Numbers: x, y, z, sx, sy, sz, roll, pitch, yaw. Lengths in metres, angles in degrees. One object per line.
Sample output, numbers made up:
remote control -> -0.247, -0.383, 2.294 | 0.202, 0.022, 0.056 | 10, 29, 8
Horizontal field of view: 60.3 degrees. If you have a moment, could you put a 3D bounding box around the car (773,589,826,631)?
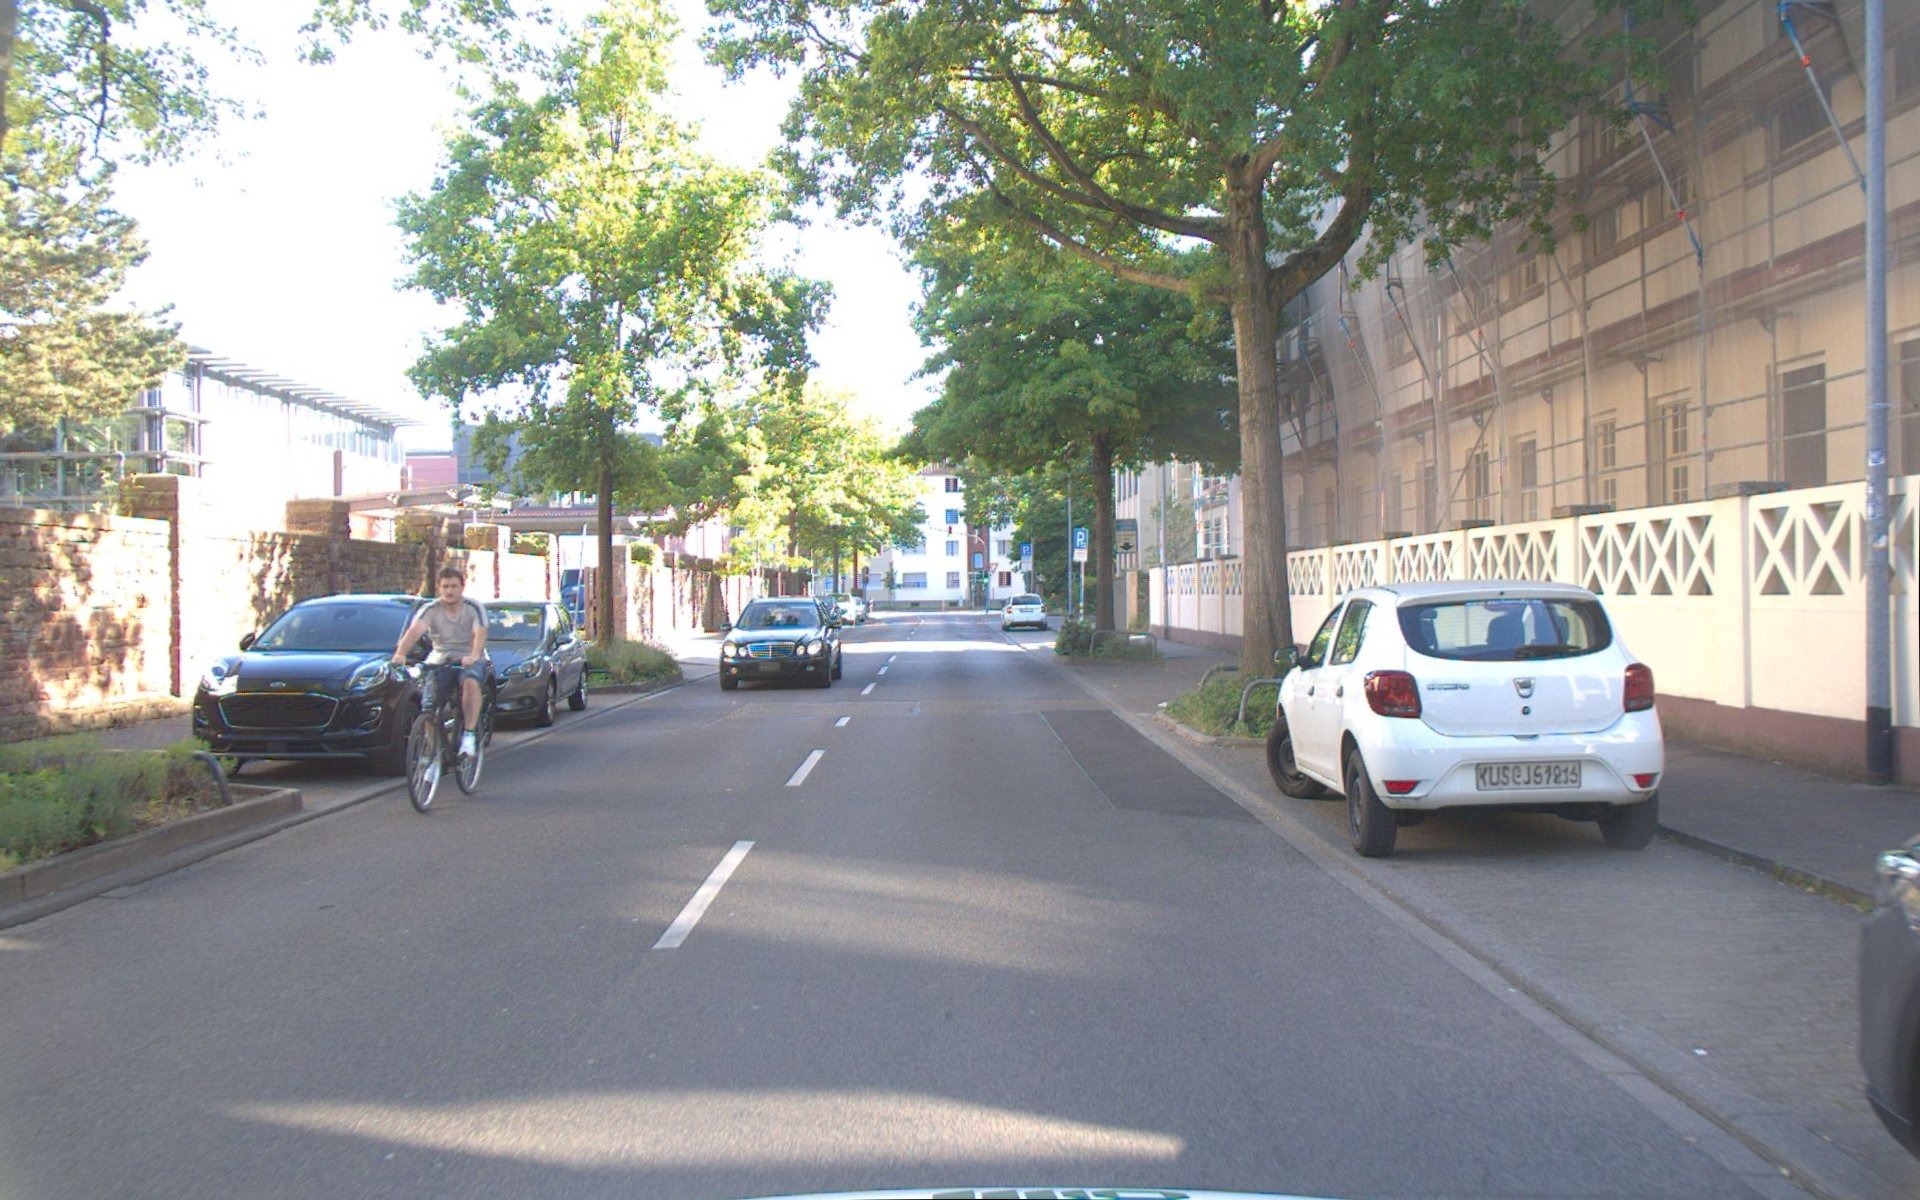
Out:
car -> -5.859, 0.339, 60.559 | 1.576, 1.484, 3.708 | 1, 0, 0

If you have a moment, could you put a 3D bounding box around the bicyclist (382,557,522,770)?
bicyclist -> -3.847, 0.458, 12.594 | 0.706, 1.549, 1.005 | 1, 0, 2

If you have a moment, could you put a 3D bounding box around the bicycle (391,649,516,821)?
bicycle -> -3.840, 0.983, 12.643 | 0.350, 1.140, 1.866 | 1, 0, 1

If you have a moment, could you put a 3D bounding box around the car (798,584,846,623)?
car -> -6.070, 0.135, 73.077 | 1.701, 1.620, 4.107 | -1, 0, 1

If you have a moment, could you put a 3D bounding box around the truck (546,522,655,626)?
truck -> -13.915, -0.976, 64.603 | 2.677, 3.776, 7.427 | 1, 0, -1

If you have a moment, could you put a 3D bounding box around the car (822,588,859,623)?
car -> -6.003, 0.249, 83.638 | 1.685, 1.713, 4.349 | -1, 0, -2

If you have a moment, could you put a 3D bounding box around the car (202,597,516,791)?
car -> -5.444, 0.758, 15.508 | 1.542, 1.541, 4.043 | 0, 0, -1

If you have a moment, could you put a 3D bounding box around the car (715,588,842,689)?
car -> -2.965, 0.586, 27.730 | 1.785, 1.461, 3.967 | -2, 1, -2

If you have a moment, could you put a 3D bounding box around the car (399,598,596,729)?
car -> -5.657, 0.721, 20.652 | 1.654, 1.446, 3.835 | 1, 0, -5

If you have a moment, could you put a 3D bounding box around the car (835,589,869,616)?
car -> -6.216, 0.149, 95.701 | 1.691, 1.501, 4.477 | 1, 0, -1

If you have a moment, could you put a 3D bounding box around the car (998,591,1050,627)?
car -> 2.549, 0.329, 67.079 | 1.795, 1.346, 4.495 | -2, 0, -1

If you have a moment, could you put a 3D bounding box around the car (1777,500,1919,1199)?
car -> 3.005, 0.617, 2.077 | 1.678, 1.667, 4.301 | -1, 1, -2

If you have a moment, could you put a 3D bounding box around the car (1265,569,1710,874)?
car -> 3.132, 0.610, 10.673 | 1.688, 1.536, 3.993 | -2, 1, 2
